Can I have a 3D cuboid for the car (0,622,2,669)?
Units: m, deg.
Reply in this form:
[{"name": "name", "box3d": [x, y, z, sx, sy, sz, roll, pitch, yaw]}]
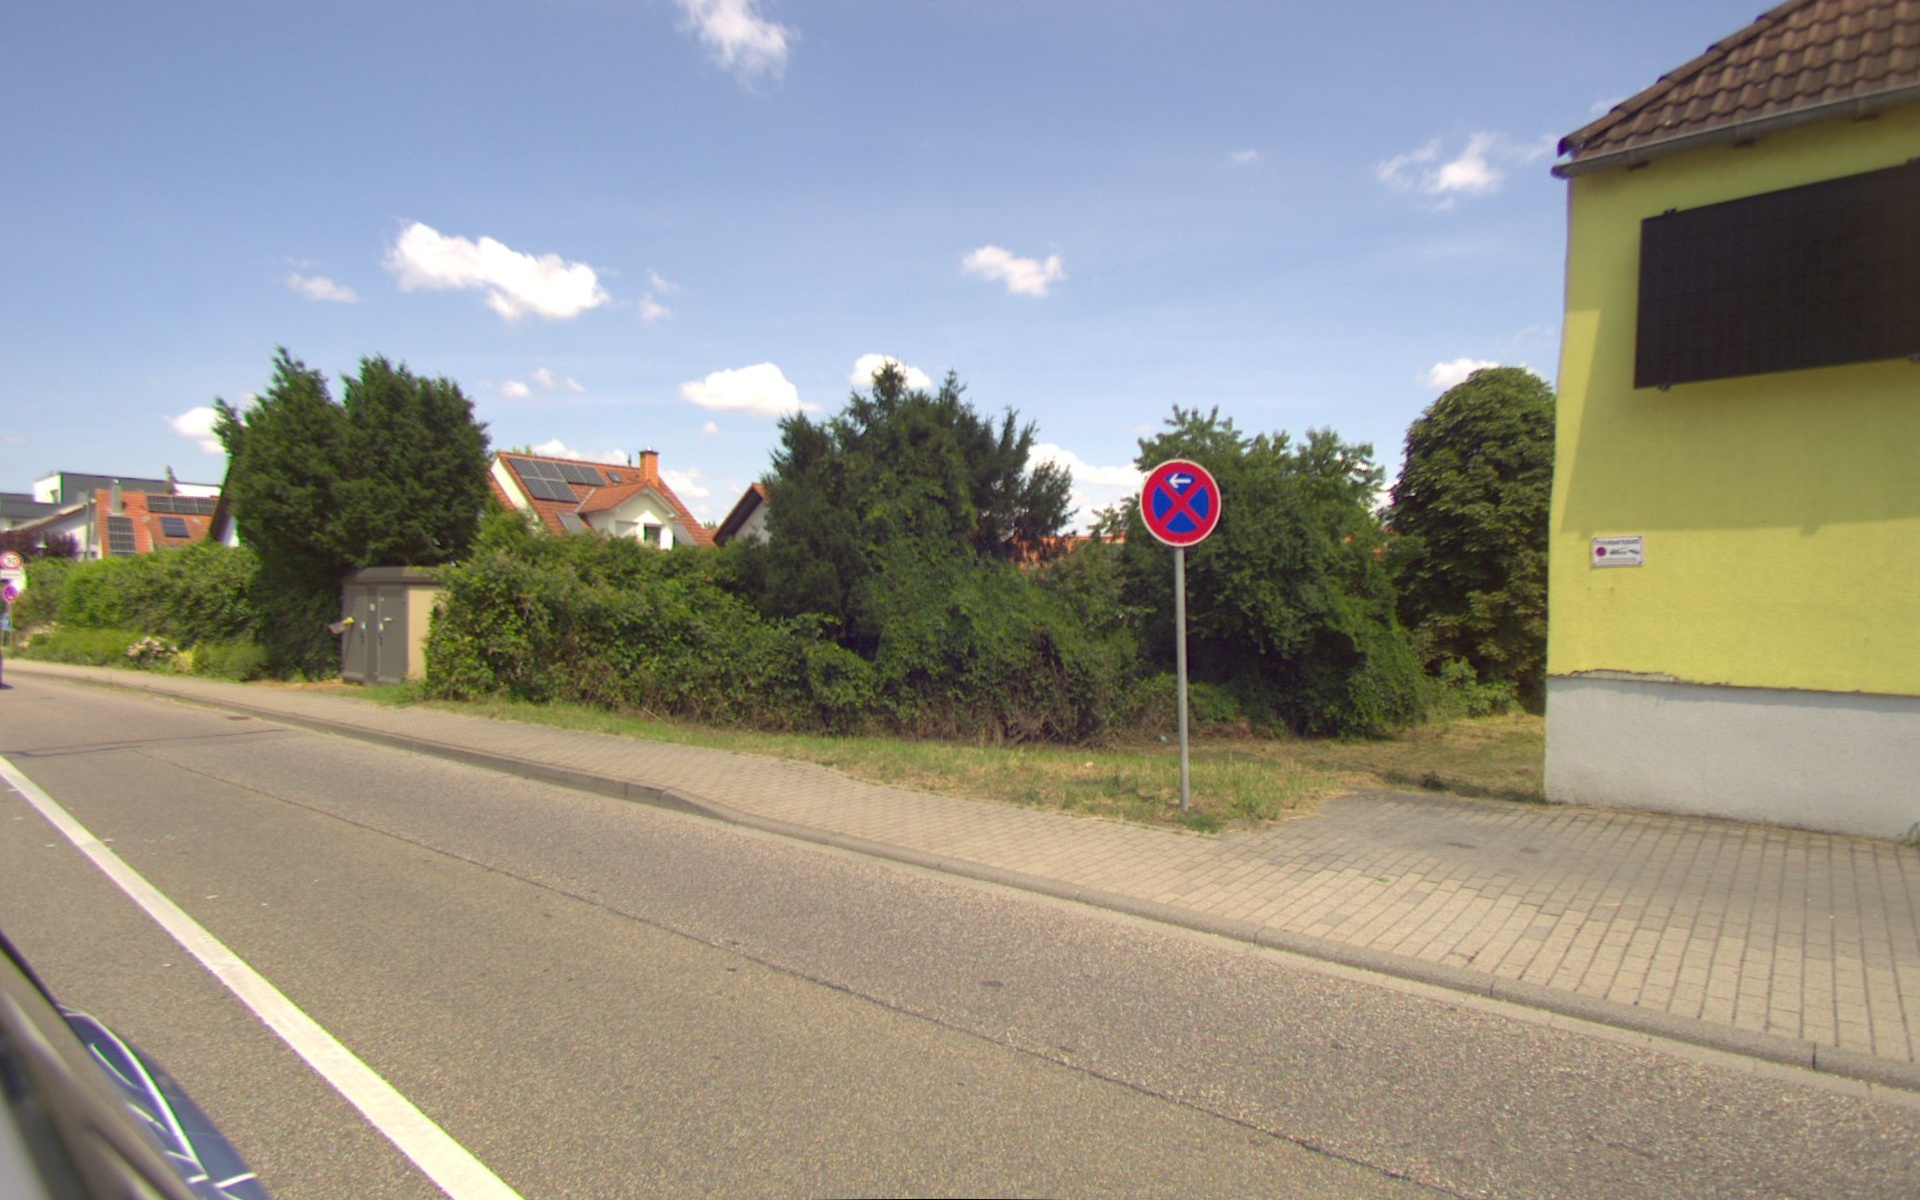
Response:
[{"name": "car", "box3d": [-22.122, 1.175, 21.654, 4.668, 1.453, 1.844, -1, -2, 41]}]
